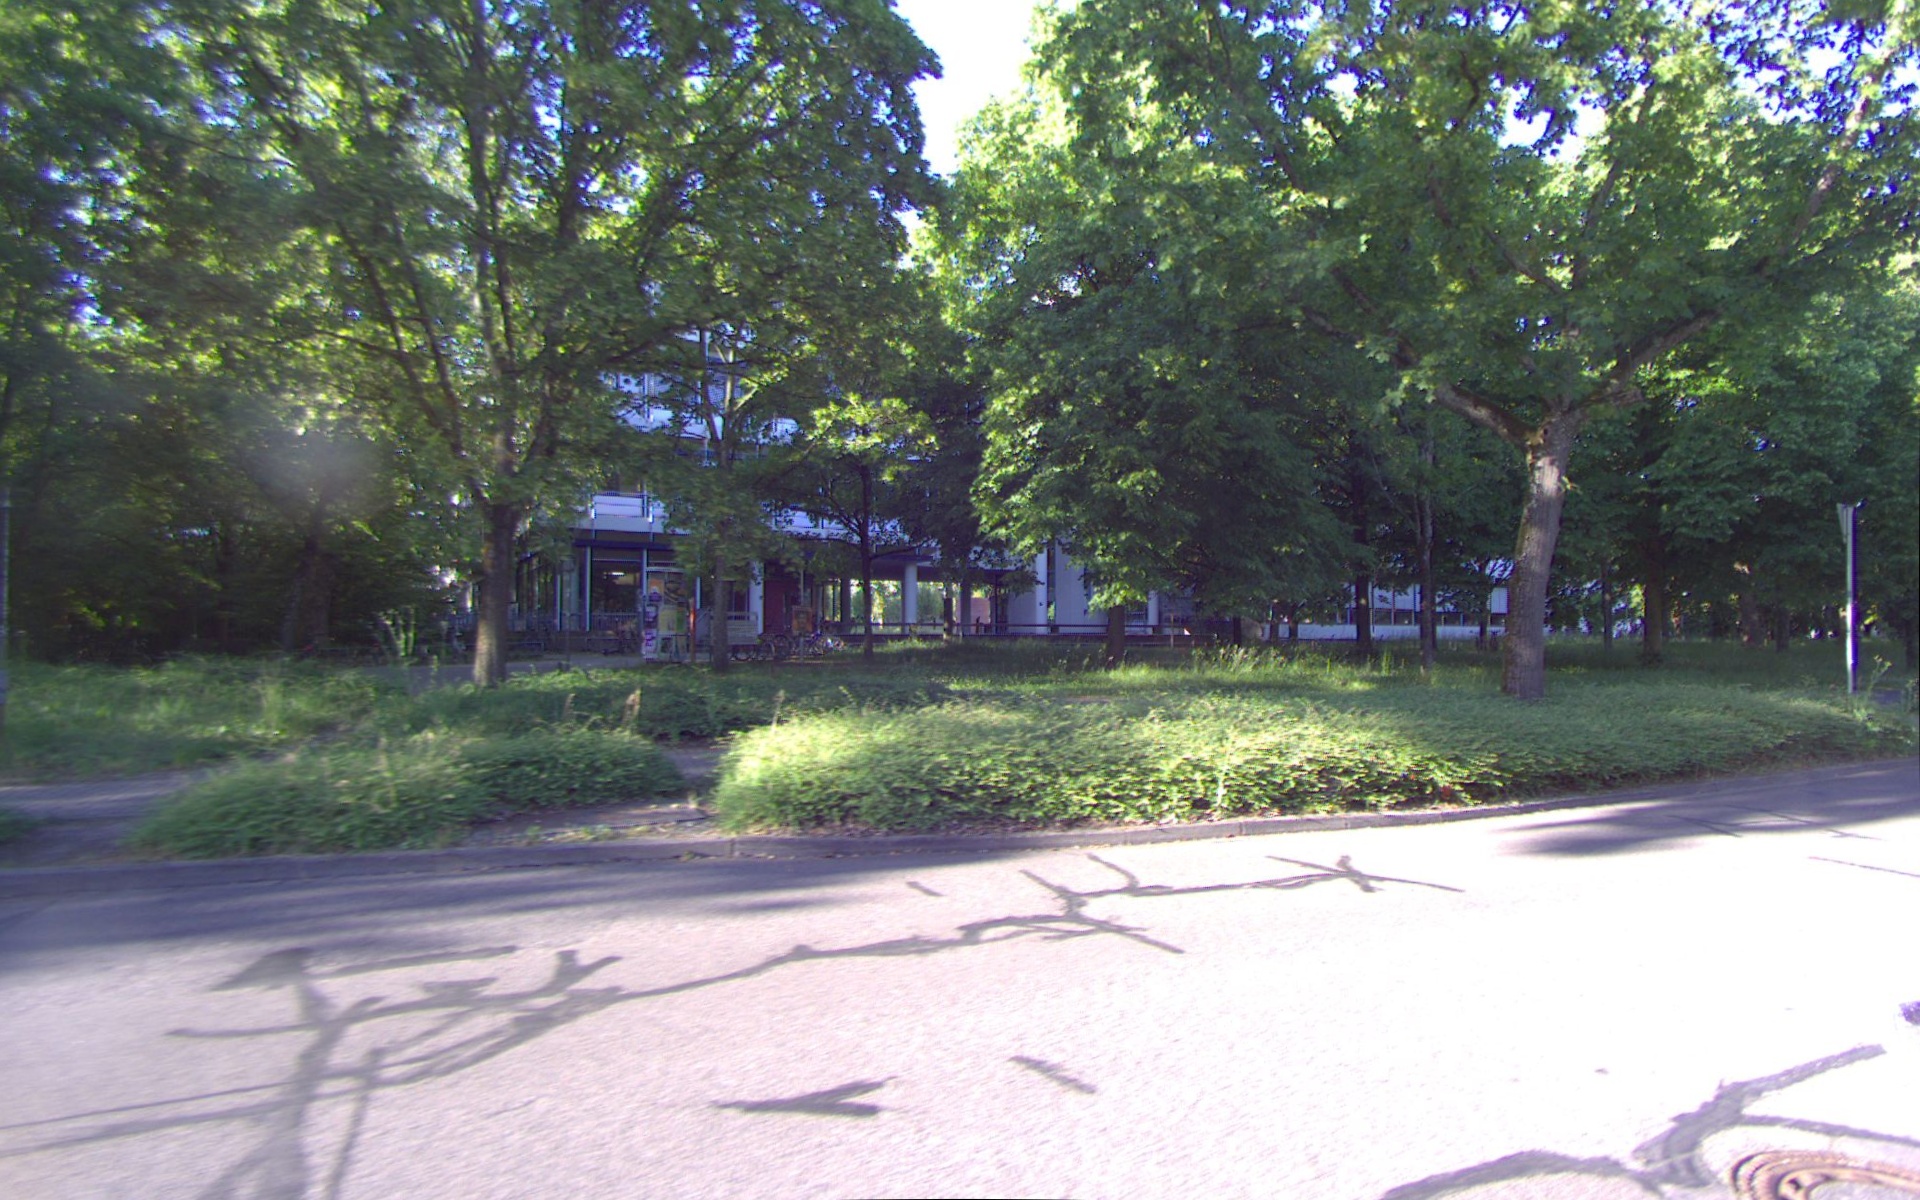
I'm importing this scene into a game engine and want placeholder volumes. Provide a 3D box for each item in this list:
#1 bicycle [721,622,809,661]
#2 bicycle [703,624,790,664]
[{"bbox_3d":[-5.869,1.240,30.241,2.590,1.086,0.535,0,3,-14],"label":"bicycle"},{"bbox_3d":[-6.122,1.255,28.843,2.380,1.086,0.537,0,2,8],"label":"bicycle"}]
